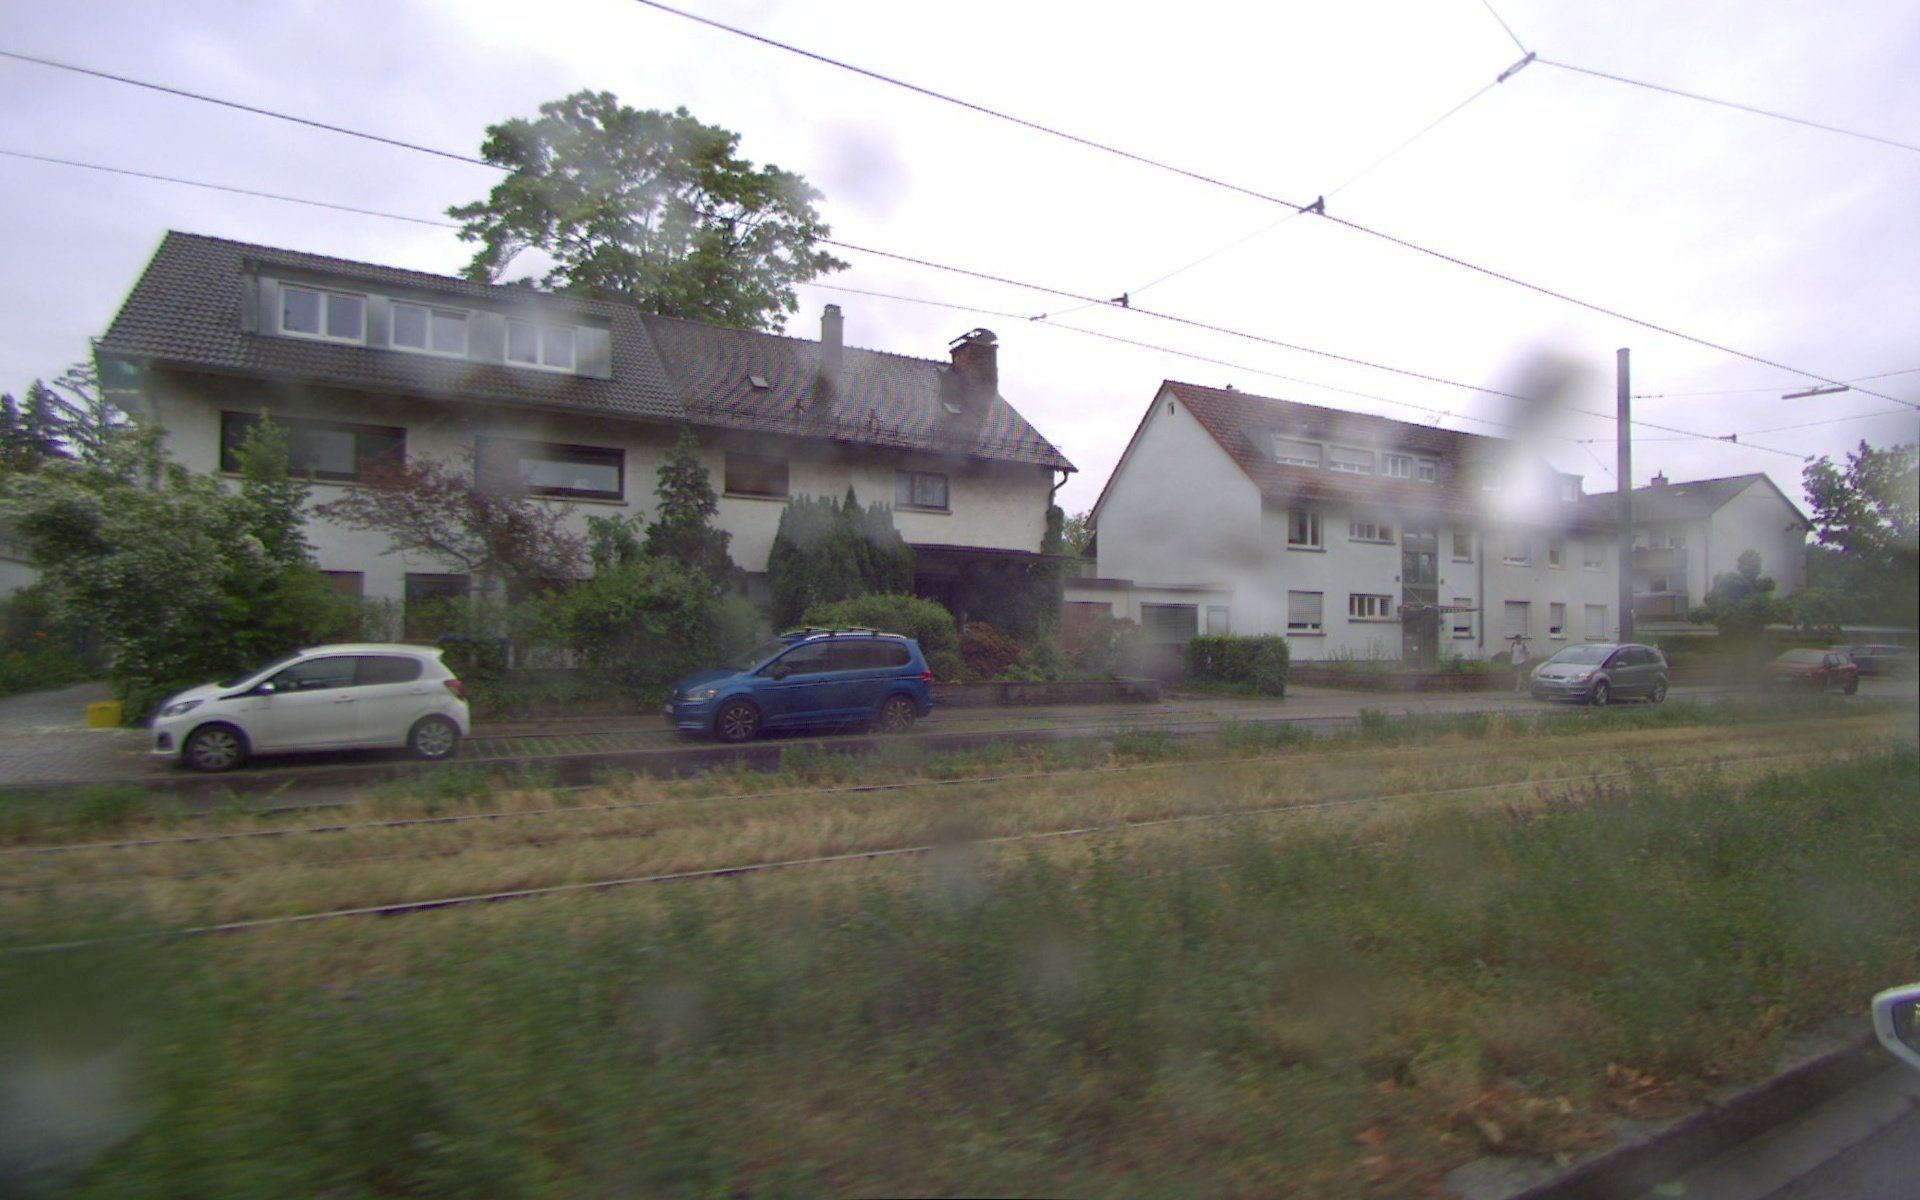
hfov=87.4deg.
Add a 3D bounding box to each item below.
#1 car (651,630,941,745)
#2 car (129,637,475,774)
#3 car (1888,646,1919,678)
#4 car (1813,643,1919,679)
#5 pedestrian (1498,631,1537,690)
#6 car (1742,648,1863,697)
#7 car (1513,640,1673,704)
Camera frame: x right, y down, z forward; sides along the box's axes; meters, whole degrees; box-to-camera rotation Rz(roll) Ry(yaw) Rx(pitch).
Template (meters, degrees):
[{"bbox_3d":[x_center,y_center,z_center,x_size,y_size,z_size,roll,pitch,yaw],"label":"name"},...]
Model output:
[{"bbox_3d":[-2.688,1.354,16.759,4.362,1.635,1.983,1,0,-31],"label":"car"},{"bbox_3d":[-8.412,1.270,13.185,3.555,1.508,1.787,1,0,-30],"label":"car"},{"bbox_3d":[50.650,3.193,51.601,1.978,1.638,3.967,2,-3,-31],"label":"car"},{"bbox_3d":[43.506,2.895,47.828,1.978,1.638,3.967,2,-3,-31],"label":"car"},{"bbox_3d":[17.141,1.867,30.887,0.844,1.778,0.699,2,-3,-29],"label":"pedestrian"},{"bbox_3d":[29.470,2.496,35.123,4.156,1.508,1.984,1,0,-30],"label":"car"},{"bbox_3d":[17.776,1.958,28.158,4.464,1.602,1.984,1,0,-30],"label":"car"}]
